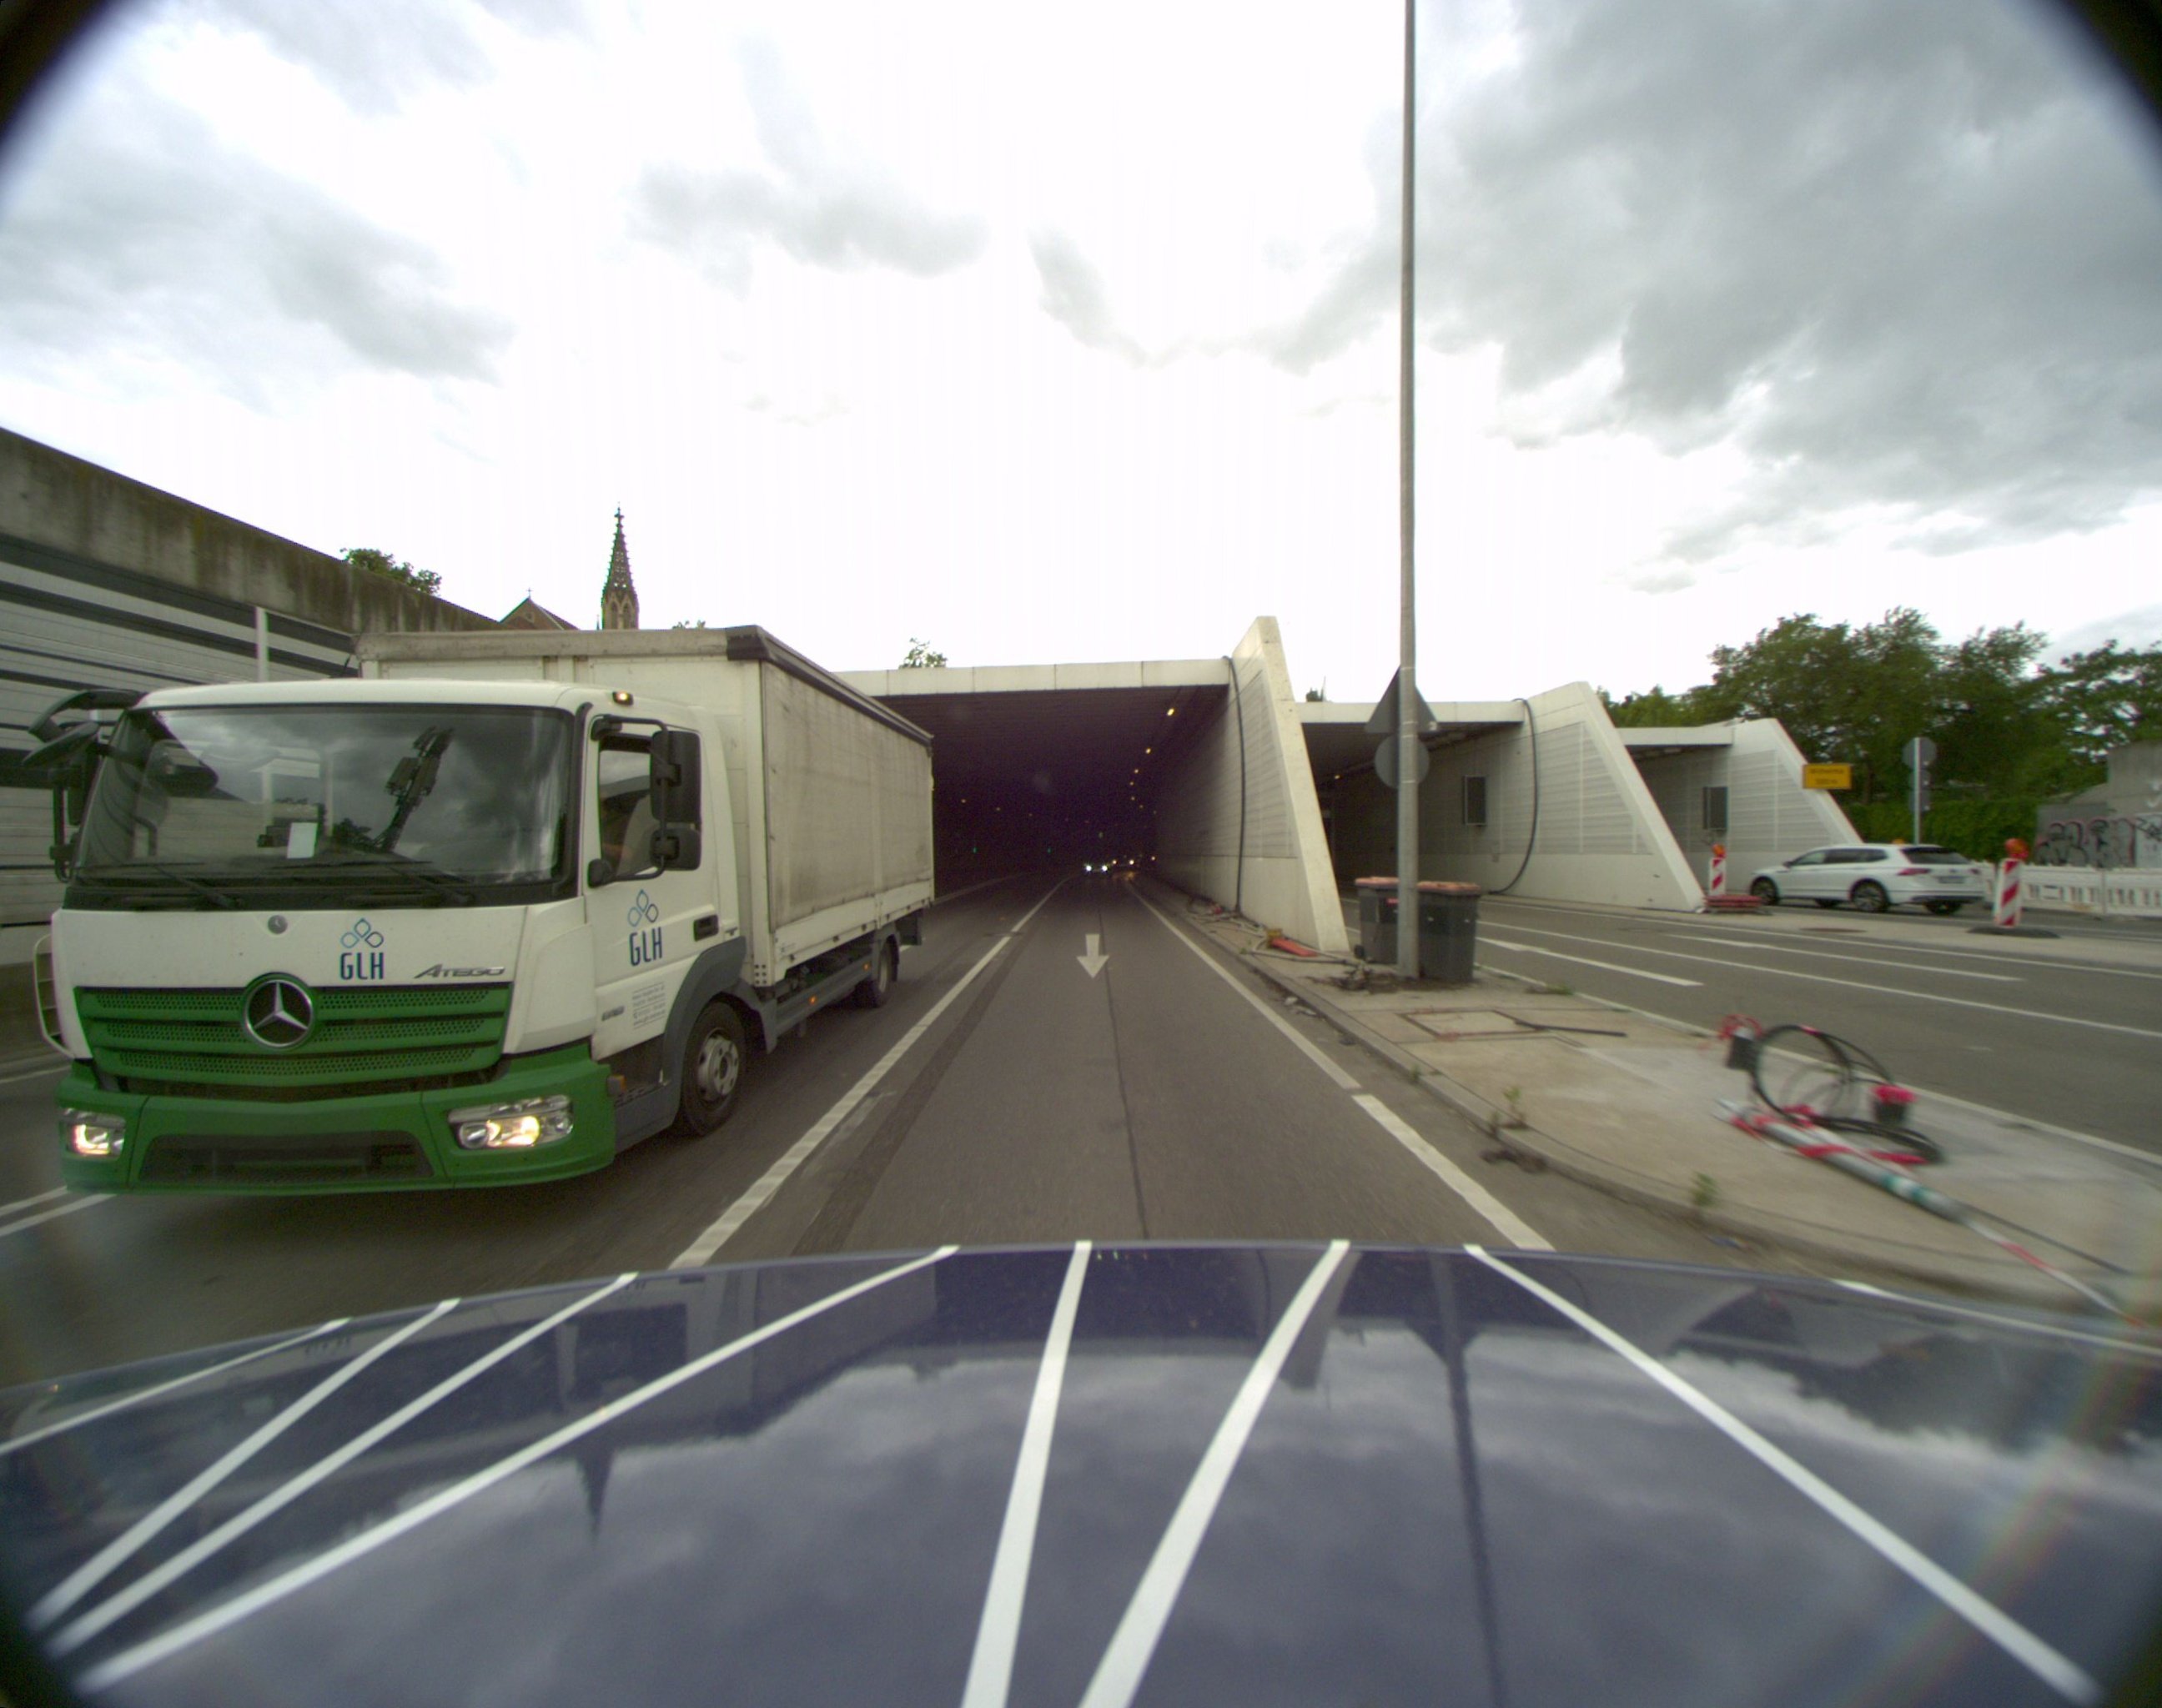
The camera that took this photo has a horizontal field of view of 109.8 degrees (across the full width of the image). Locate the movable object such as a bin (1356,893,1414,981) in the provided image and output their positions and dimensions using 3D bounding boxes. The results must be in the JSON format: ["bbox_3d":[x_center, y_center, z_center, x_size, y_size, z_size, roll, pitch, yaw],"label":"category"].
[{"bbox_3d":[3.700,1.002,9.265,0.490,1.011,0.423,-2,1,-4],"label":"movable object such as a bin"}]

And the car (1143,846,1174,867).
[{"bbox_3d":[7.817,0.212,76.270,1.995,2.002,4.006,-2,0,22],"label":"car"}]

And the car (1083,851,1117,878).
[{"bbox_3d":[1.161,0.588,43.735,1.721,1.455,4.001,0,0,5],"label":"car"}]

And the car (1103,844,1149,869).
[{"bbox_3d":[3.695,0.198,61.143,2.371,1.914,5.205,-1,0,18],"label":"car"}]

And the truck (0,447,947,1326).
[{"bbox_3d":[-3.227,0.125,6.543,2.636,3.220,7.415,-2,0,1],"label":"truck"}]

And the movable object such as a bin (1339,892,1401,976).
[{"bbox_3d":[3.703,1.010,9.767,0.554,1.003,0.547,-2,1,-3],"label":"movable object such as a bin"}]

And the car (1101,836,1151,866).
[{"bbox_3d":[4.510,-0.326,74.833,2.555,2.752,7.363,0,1,24],"label":"car"}]

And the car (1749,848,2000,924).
[{"bbox_3d":[19.541,0.710,19.070,1.851,1.652,4.376,-1,0,3],"label":"car"}]
